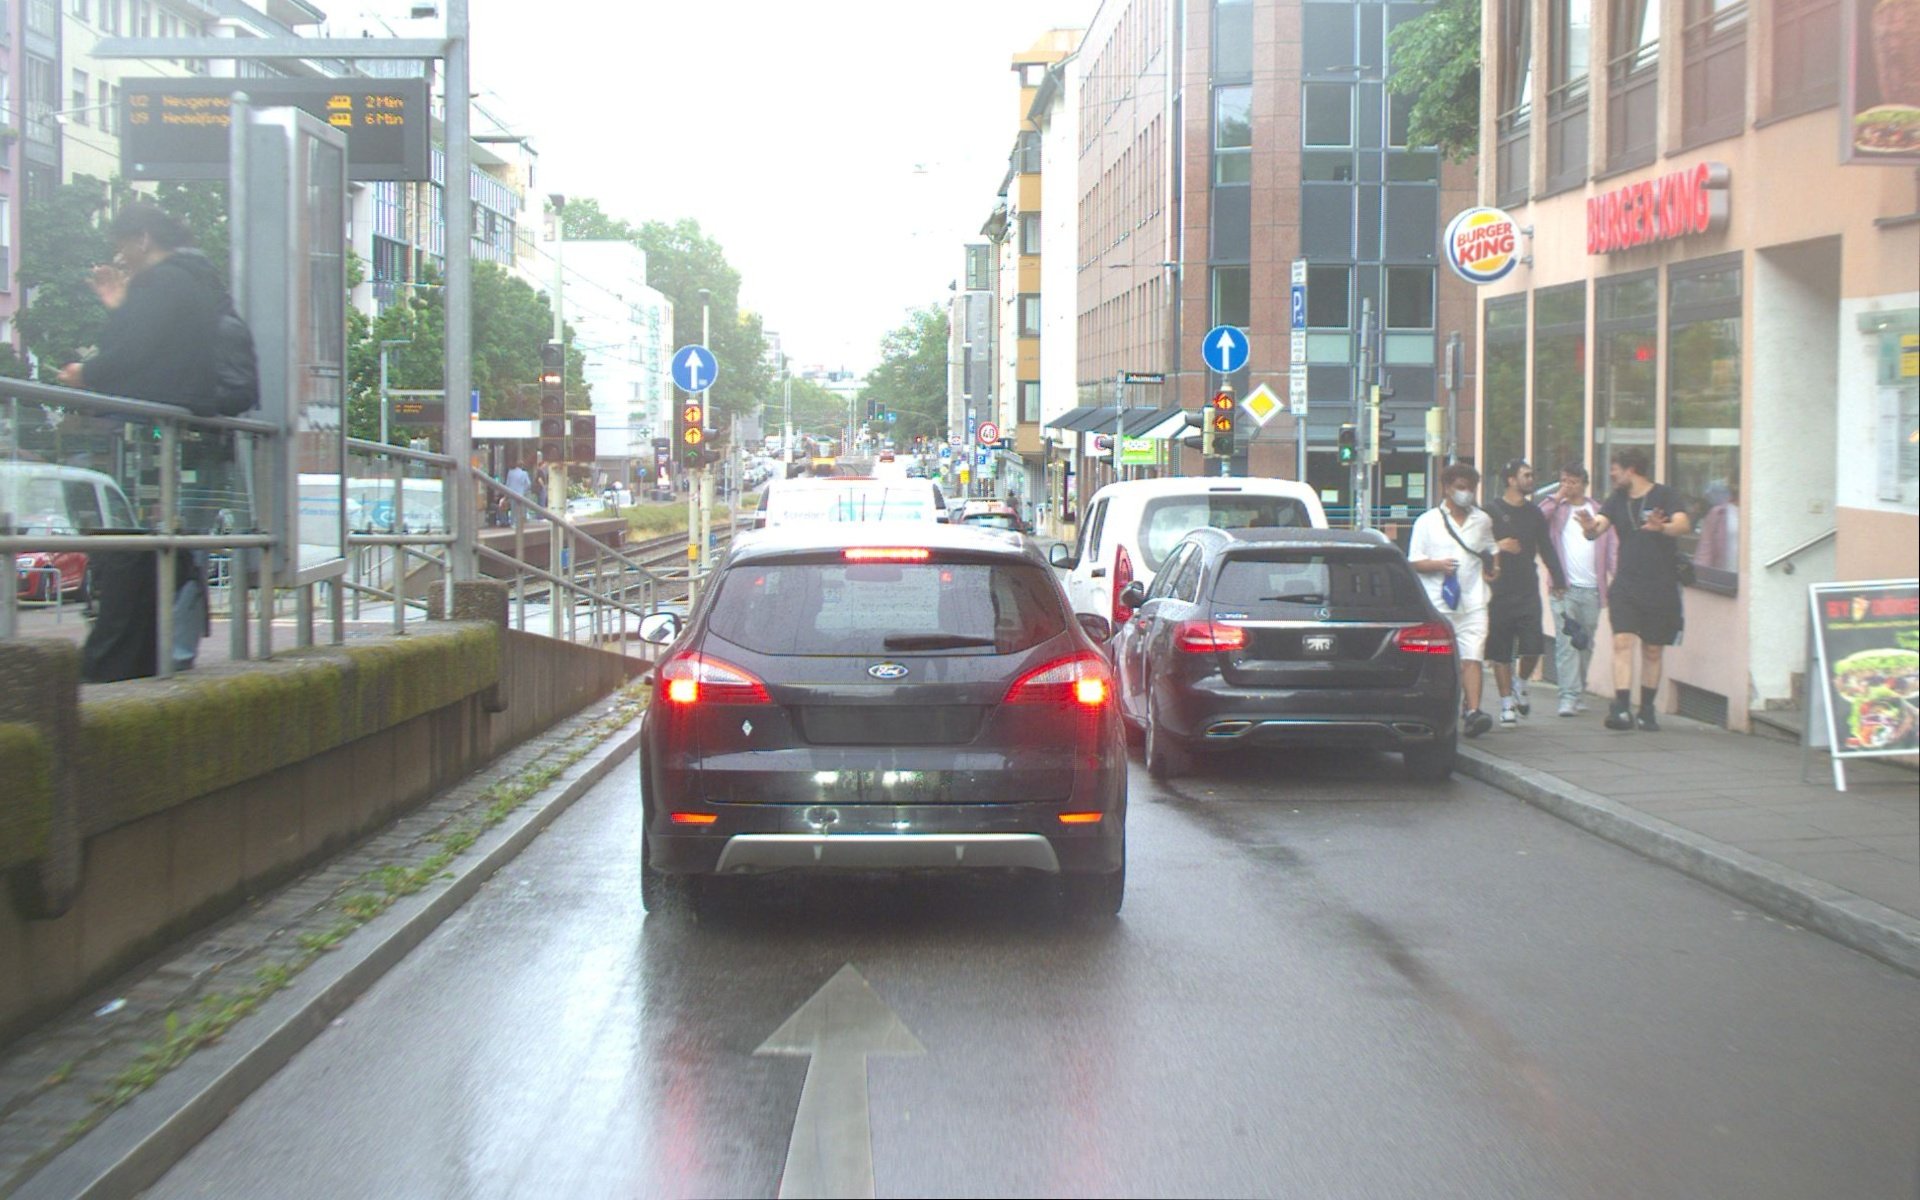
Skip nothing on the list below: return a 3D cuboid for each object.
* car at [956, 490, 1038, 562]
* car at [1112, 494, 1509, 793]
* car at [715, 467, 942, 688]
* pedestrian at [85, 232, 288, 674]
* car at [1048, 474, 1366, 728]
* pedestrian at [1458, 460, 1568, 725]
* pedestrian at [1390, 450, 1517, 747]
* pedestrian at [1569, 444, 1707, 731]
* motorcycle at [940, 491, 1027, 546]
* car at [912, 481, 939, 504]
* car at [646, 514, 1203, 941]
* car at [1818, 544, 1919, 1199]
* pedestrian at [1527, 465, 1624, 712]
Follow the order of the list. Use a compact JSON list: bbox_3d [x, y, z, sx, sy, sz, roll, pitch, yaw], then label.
[{"bbox_3d":[0.814,-1.628,75.839,1.698,1.474,3.867,-2,1,0],"label":"car"},{"bbox_3d":[1.996,0.188,20.810,1.906,1.610,4.414,0,1,-1],"label":"car"},{"bbox_3d":[-1.132,-0.238,31.325,1.906,1.858,4.574,0,1,-1],"label":"car"},{"bbox_3d":[-2.800,-0.525,12.494,0.583,1.552,0.701,-1,1,-3],"label":"pedestrian"},{"bbox_3d":[1.824,-0.045,26.899,1.906,1.800,4.778,0,1,-3],"label":"car"},{"bbox_3d":[3.628,-0.053,22.566,0.610,1.708,0.581,-1,1,0],"label":"pedestrian"},{"bbox_3d":[3.134,-0.014,21.854,0.695,1.848,0.652,-1,1,0],"label":"pedestrian"},{"bbox_3d":[4.356,-0.086,22.110,0.756,1.813,0.588,-1,1,0],"label":"pedestrian"},{"bbox_3d":[0.605,-2.098,88.550,2.085,1.402,0.798,0,1,18],"label":"motorcycle"},{"bbox_3d":[-2.447,-7.697,246.737,1.906,1.627,4.574,0,1,0],"label":"car"},{"bbox_3d":[-0.138,0.401,13.544,1.906,1.457,3.445,0,1,-1],"label":"car"},{"bbox_3d":[2.431,0.676,3.581,1.906,1.457,4.246,0,1,-2],"label":"car"},{"bbox_3d":[4.317,-0.088,24.125,0.576,1.708,0.477,-1,1,0],"label":"pedestrian"}]
